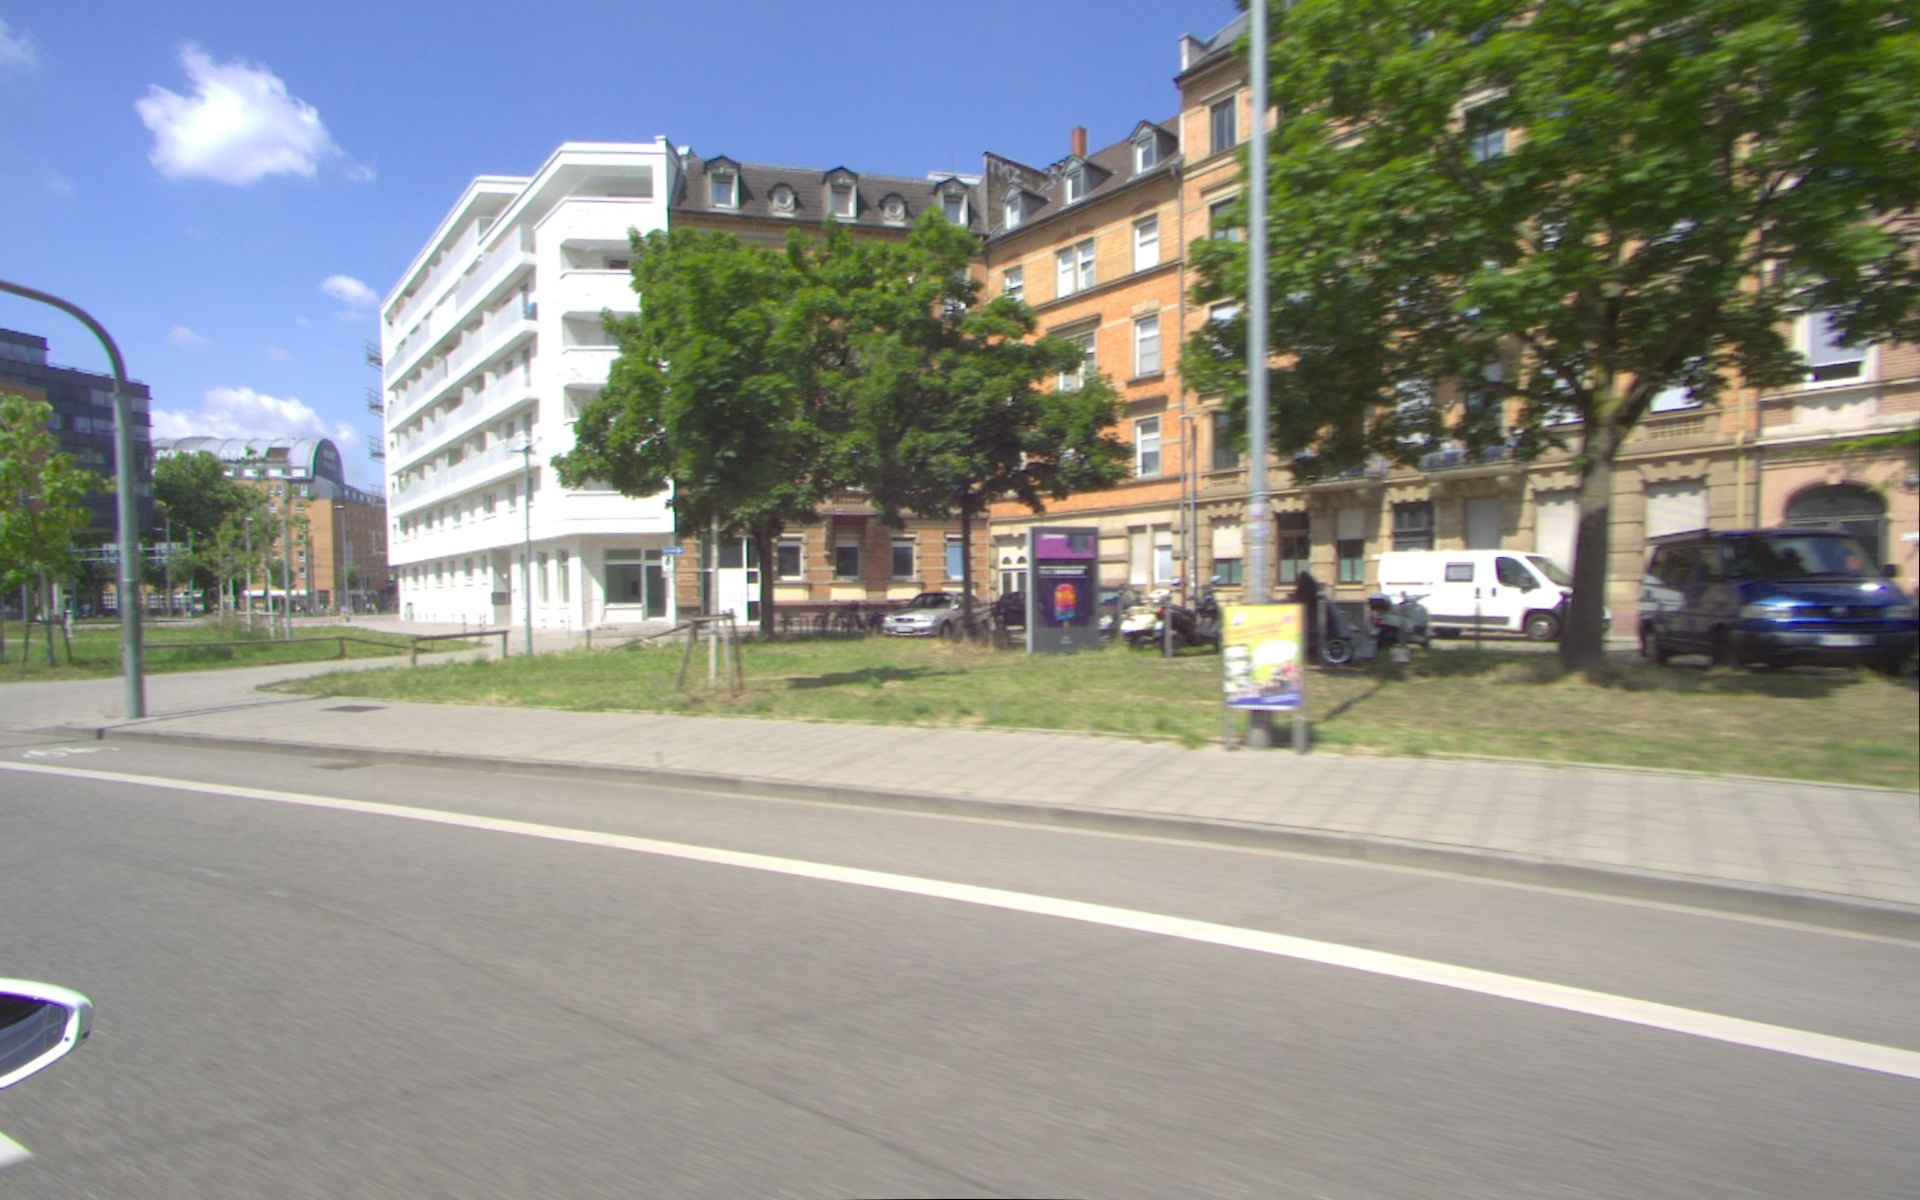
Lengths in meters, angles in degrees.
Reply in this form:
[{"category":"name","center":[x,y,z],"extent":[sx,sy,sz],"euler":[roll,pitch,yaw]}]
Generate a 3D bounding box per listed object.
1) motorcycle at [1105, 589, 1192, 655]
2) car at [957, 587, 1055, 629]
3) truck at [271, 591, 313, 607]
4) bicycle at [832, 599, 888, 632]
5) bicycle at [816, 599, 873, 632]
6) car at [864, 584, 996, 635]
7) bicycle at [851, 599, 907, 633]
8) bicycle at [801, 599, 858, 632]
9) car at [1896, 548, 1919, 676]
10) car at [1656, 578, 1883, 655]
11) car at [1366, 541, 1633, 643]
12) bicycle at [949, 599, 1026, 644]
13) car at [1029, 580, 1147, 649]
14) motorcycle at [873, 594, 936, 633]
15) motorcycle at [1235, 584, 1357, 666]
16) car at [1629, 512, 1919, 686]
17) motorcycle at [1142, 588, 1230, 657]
[{"category":"motorcycle","center":[3.526,0.381,18.671],"extent":[1.769,1.182,0.634],"euler":[-1,1,-41]},{"category":"car","center":[1.694,0.322,38.017],"extent":[1.645,1.511,3.822],"euler":[0,-1,-39]},{"category":"truck","center":[-90.781,-0.095,136.103],"extent":[5.427,2.113,1.996],"euler":[0,0,21]},{"category":"bicycle","center":[-3.058,0.480,30.844],"extent":[0.535,0.982,2.383],"euler":[0,-1,27]},{"category":"bicycle","center":[-3.555,0.482,31.112],"extent":[0.535,0.982,2.383],"euler":[0,-1,27]},{"category":"car","center":[-0.713,0.259,26.967],"extent":[1.833,1.260,4.150],"euler":[0,-1,26]},{"category":"bicycle","center":[-2.454,0.485,30.519],"extent":[0.535,0.968,2.383],"euler":[0,-1,27]},{"category":"bicycle","center":[-4.070,0.484,31.372],"extent":[0.535,0.982,2.383],"euler":[0,-1,27]},{"category":"car","center":[12.870,0.132,11.443],"extent":[1.885,1.678,4.162],"euler":[0,-1,24]},{"category":"car","center":[16.392,0.305,20.392],"extent":[1.549,1.422,3.326],"euler":[-1,1,-36]},{"category":"car","center":[12.912,-0.142,24.325],"extent":[2.093,2.207,5.350],"euler":[0,-1,-39]},{"category":"bicycle","center":[0.558,0.450,21.201],"extent":[0.538,0.913,1.804],"euler":[0,0,-43]},{"category":"car","center":[3.091,0.295,23.392],"extent":[1.774,1.446,4.248],"euler":[0,0,21]},{"category":"motorcycle","center":[-1.628,0.404,29.980],"extent":[0.800,1.140,2.383],"euler":[0,0,27]},{"category":"motorcycle","center":[5.147,0.363,15.468],"extent":[0.630,1.182,1.898],"euler":[-1,1,-27]},{"category":"car","center":[10.911,0.017,13.668],"extent":[1.883,1.952,4.621],"euler":[0,-1,20]},{"category":"motorcycle","center":[4.082,0.375,17.996],"extent":[1.769,1.182,0.634],"euler":[-1,1,-41]}]
